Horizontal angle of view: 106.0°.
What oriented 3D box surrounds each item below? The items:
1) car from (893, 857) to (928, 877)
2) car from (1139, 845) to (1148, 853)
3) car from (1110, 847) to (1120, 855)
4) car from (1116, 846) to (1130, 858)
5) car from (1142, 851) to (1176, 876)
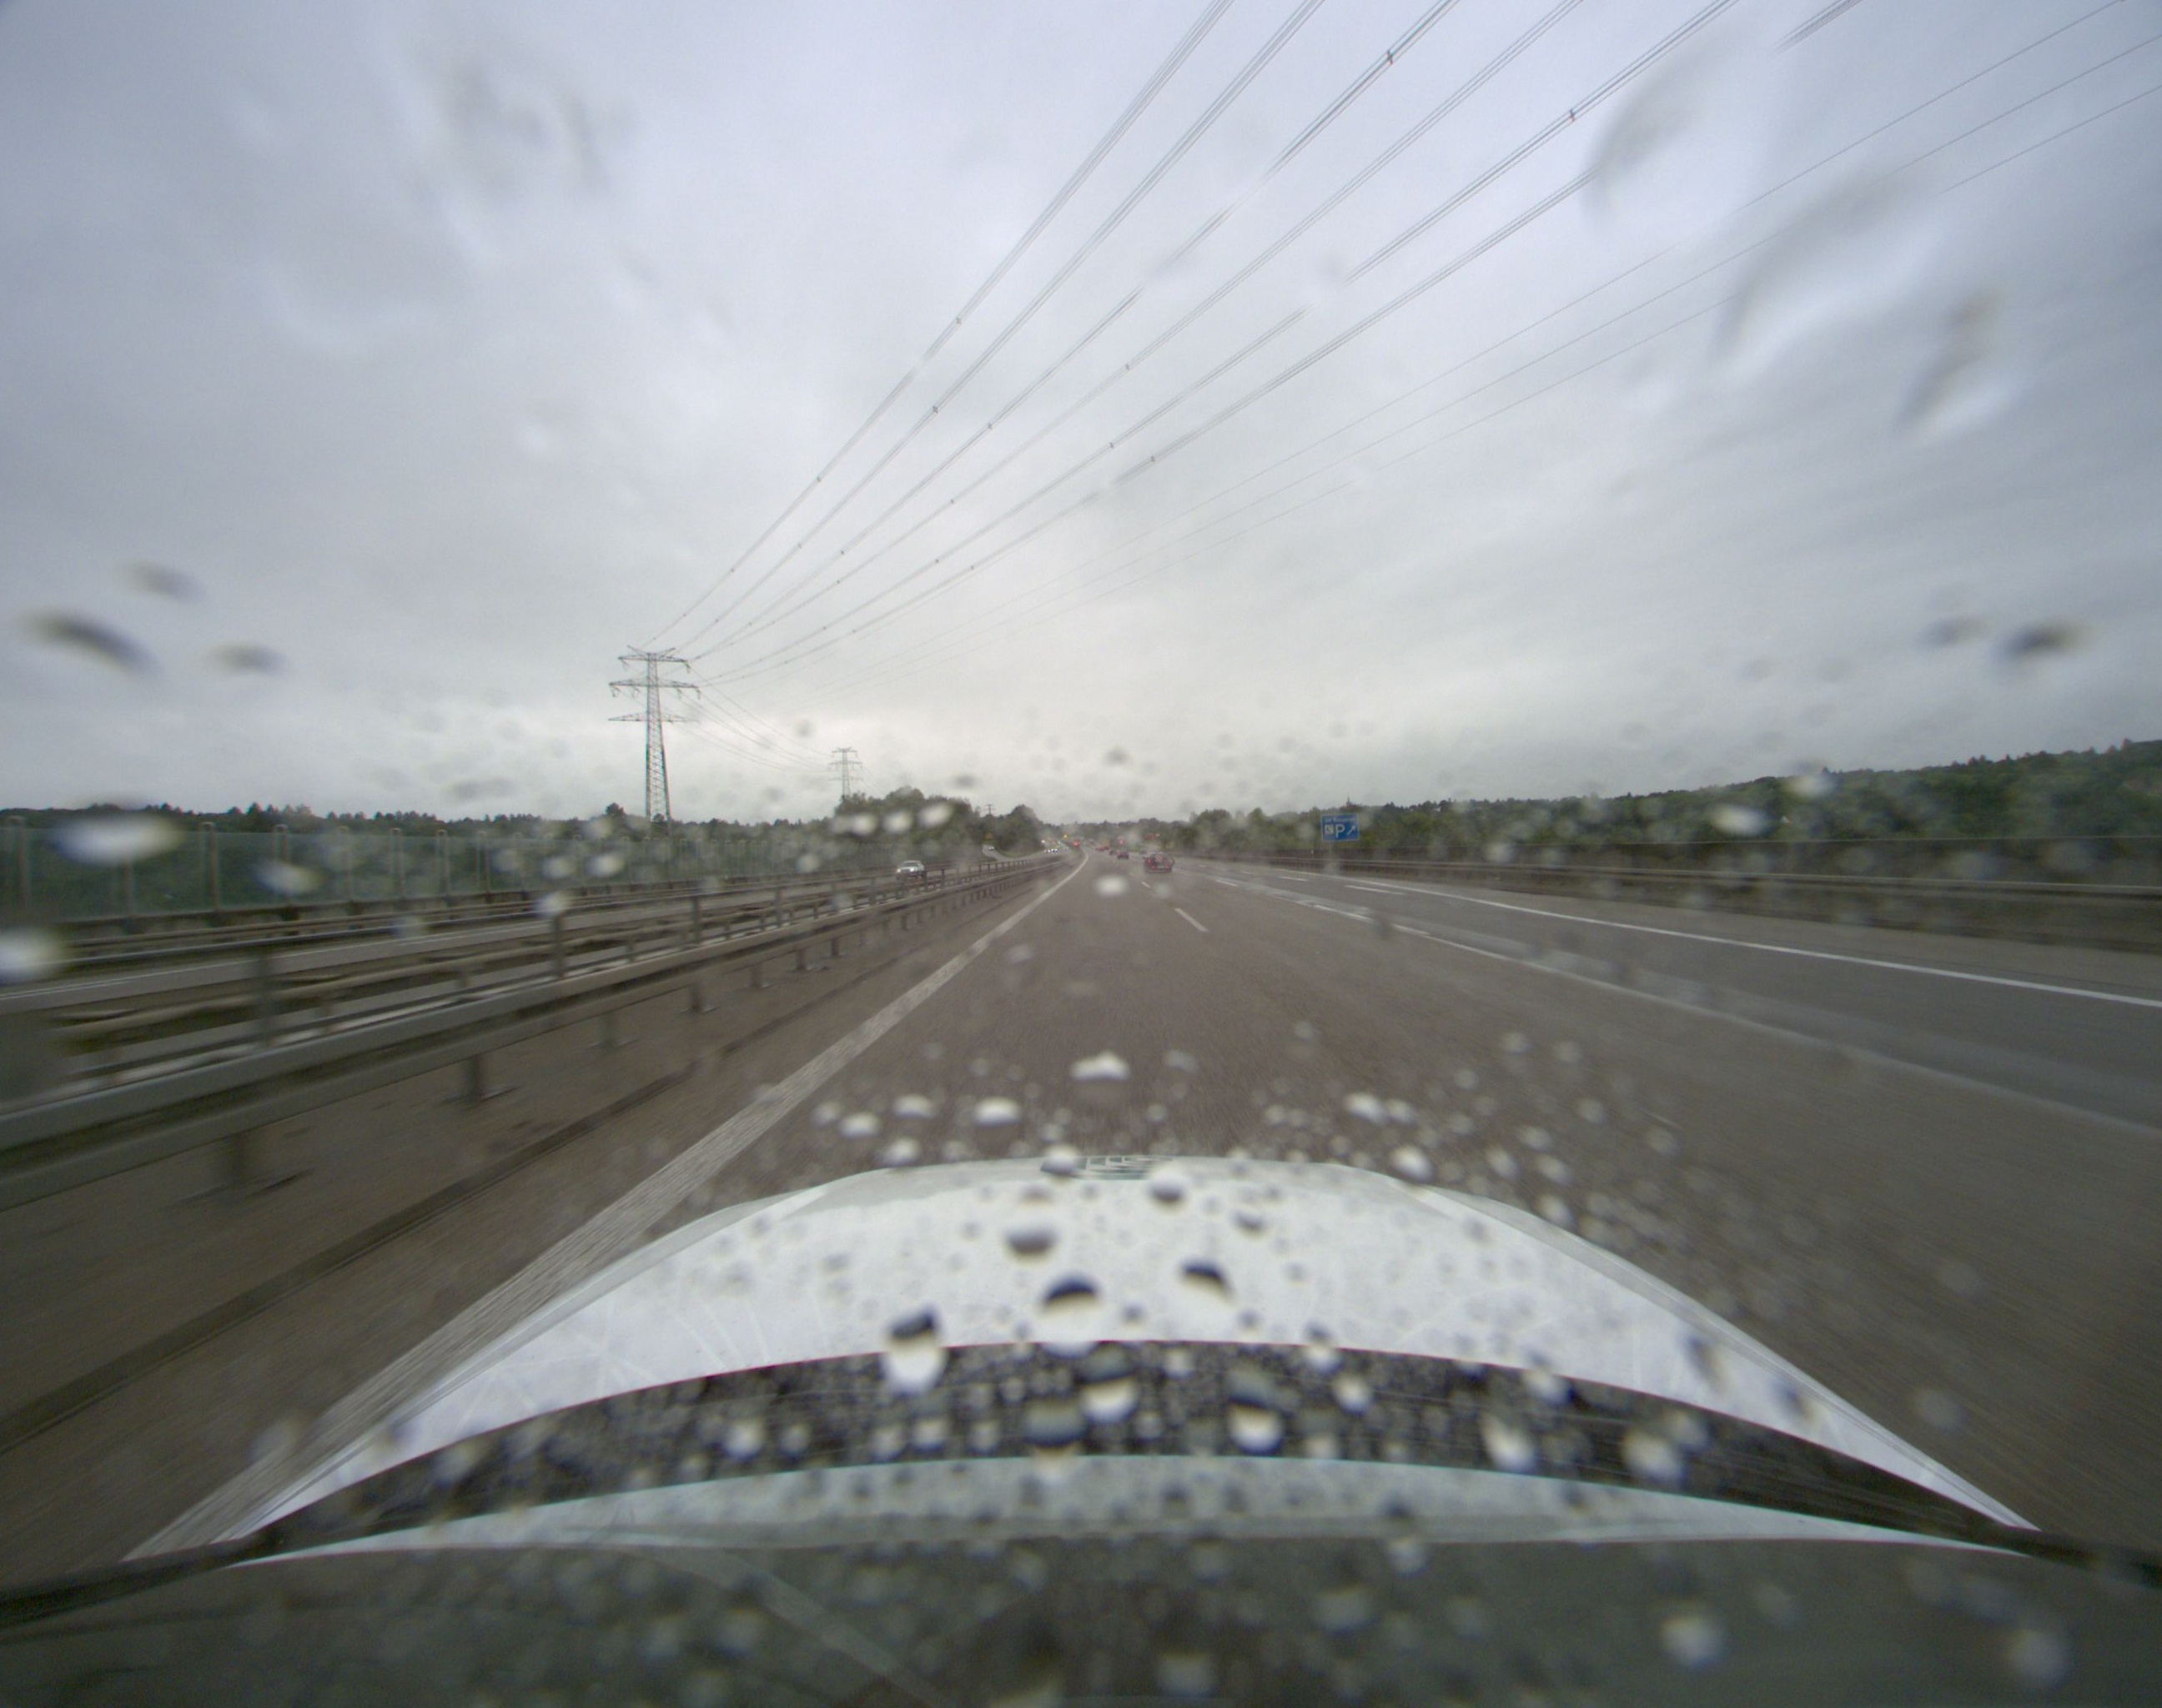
[{"bbox_3d":[-15.000,1.126,71.830,1.986,1.629,4.714,-2,0,1],"label":"car"},{"bbox_3d":[15.051,-1.169,195.725,1.913,1.709,4.007,-3,1,5],"label":"car"},{"bbox_3d":[7.918,-0.761,191.791,1.988,1.628,3.998,-3,1,-1],"label":"car"},{"bbox_3d":[6.820,-0.284,132.632,1.988,1.760,3.998,-3,1,-1],"label":"car"},{"bbox_3d":[5.420,0.639,57.383,2.050,1.671,5.525,-1,0,2],"label":"car"}]
